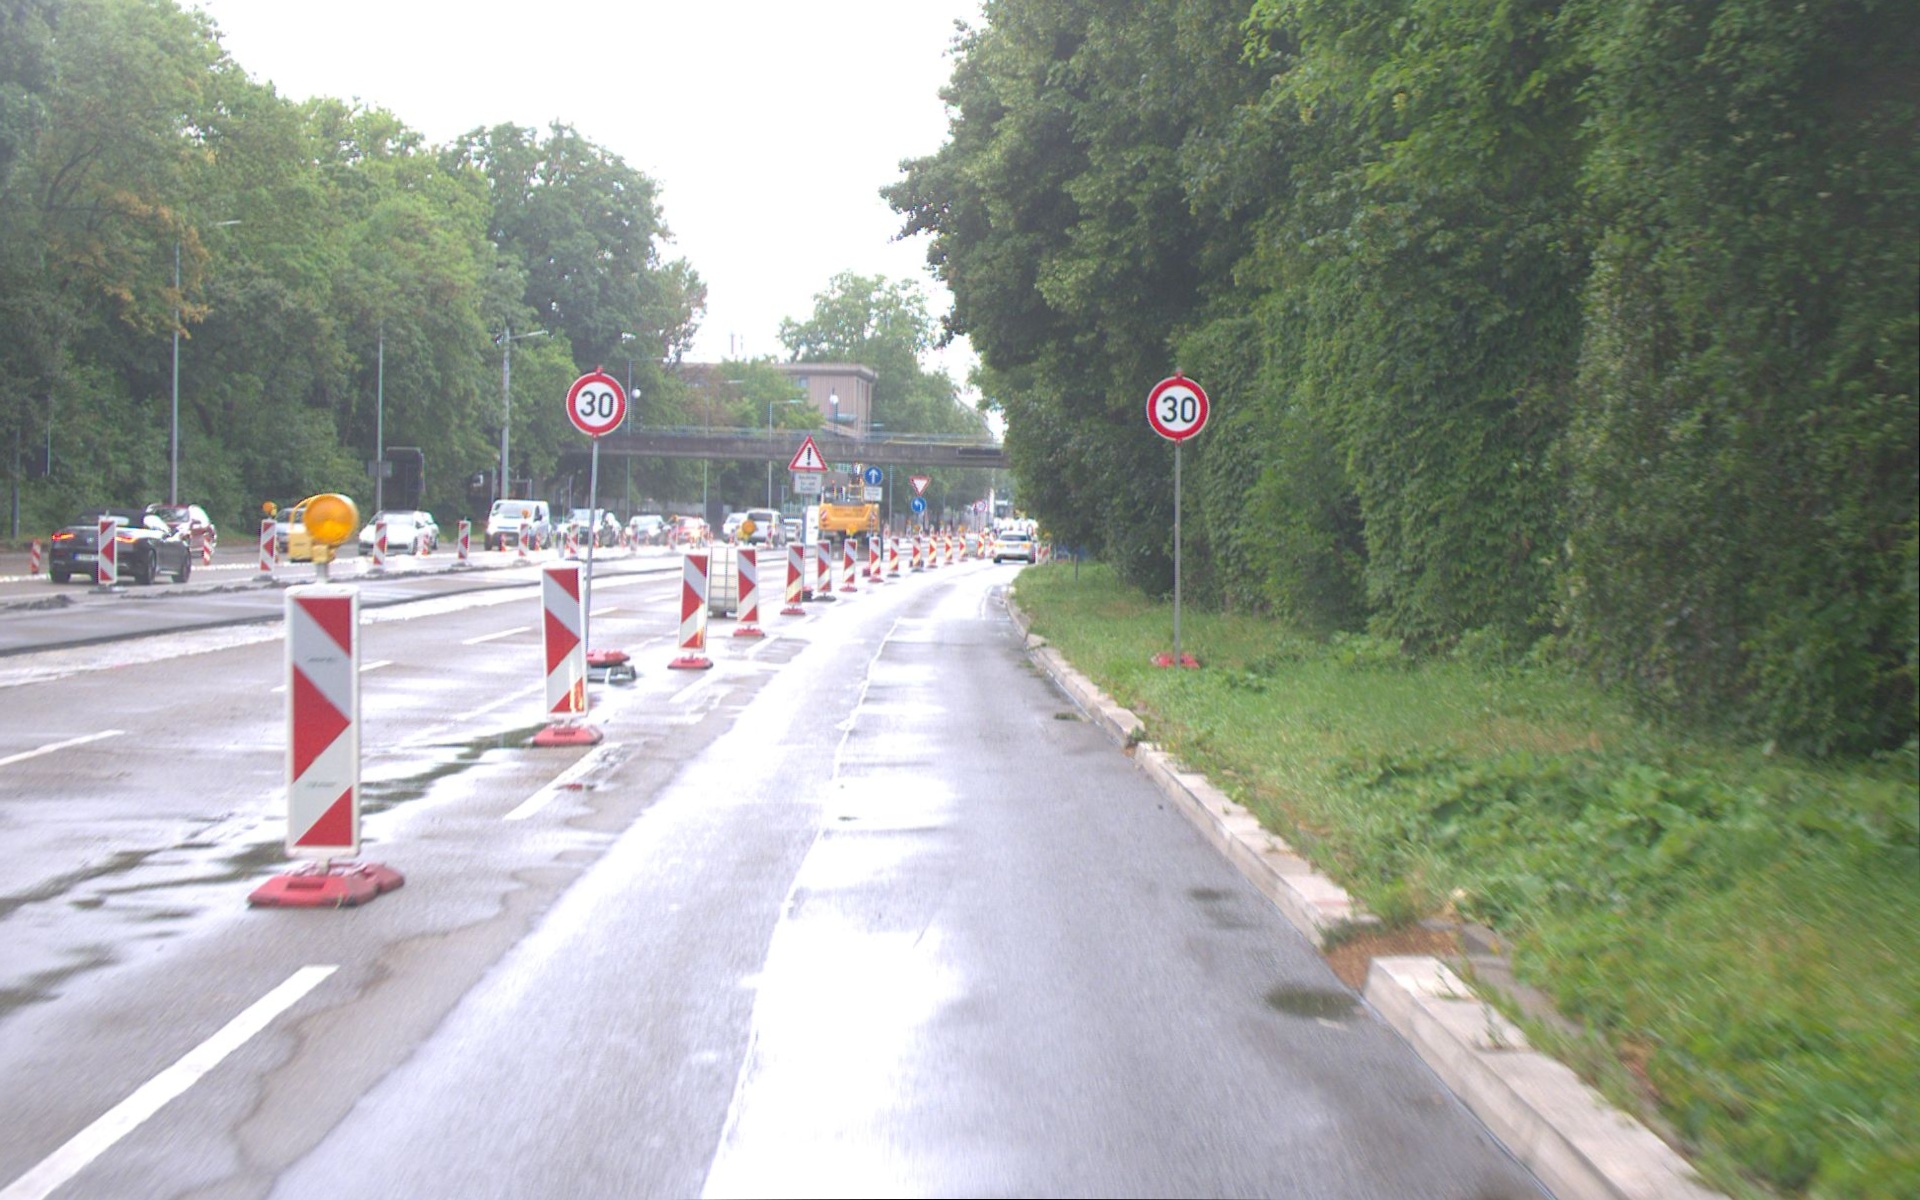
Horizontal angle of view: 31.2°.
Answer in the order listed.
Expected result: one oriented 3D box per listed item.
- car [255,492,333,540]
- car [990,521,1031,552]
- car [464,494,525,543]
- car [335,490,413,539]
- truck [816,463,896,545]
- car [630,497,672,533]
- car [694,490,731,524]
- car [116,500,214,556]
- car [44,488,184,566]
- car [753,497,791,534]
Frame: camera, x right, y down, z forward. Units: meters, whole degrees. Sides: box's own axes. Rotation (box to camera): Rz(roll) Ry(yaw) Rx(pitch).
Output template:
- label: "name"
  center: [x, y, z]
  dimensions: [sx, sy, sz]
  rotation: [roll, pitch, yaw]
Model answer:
- label: "car"
  center: [-21.206, -2.694, 109.633]
  dimensions: [1.670, 1.480, 4.050]
  rotation: [1, 2, 0]
- label: "car"
  center: [2.269, -2.890, 154.864]
  dimensions: [1.697, 1.331, 3.491]
  rotation: [-2, 1, -1]
- label: "car"
  center: [-17.674, -3.106, 130.665]
  dimensions: [1.670, 1.802, 4.320]
  rotation: [1, 2, 0]
- label: "car"
  center: [-18.286, -2.681, 107.370]
  dimensions: [1.670, 1.480, 4.320]
  rotation: [1, 2, 0]
- label: "truck"
  center: [-4.567, -4.308, 153.928]
  dimensions: [3.259, 3.485, 13.872]
  rotation: [1, 2, -1]
- label: "car"
  center: [-15.658, -4.309, 174.279]
  dimensions: [1.670, 1.802, 4.320]
  rotation: [1, 2, 0]
- label: "car"
  center: [-13.587, -5.103, 188.874]
  dimensions: [1.670, 1.802, 4.320]
  rotation: [1, 2, 0]
- label: "car"
  center: [-21.844, -2.001, 94.553]
  dimensions: [1.670, 1.480, 4.320]
  rotation: [1, 2, 0]
- label: "car"
  center: [-15.876, -1.390, 64.648]
  dimensions: [1.607, 1.399, 4.041]
  rotation: [1, 2, 0]
- label: "car"
  center: [-9.639, -4.337, 176.188]
  dimensions: [1.670, 1.802, 4.321]
  rotation: [1, 3, 0]
